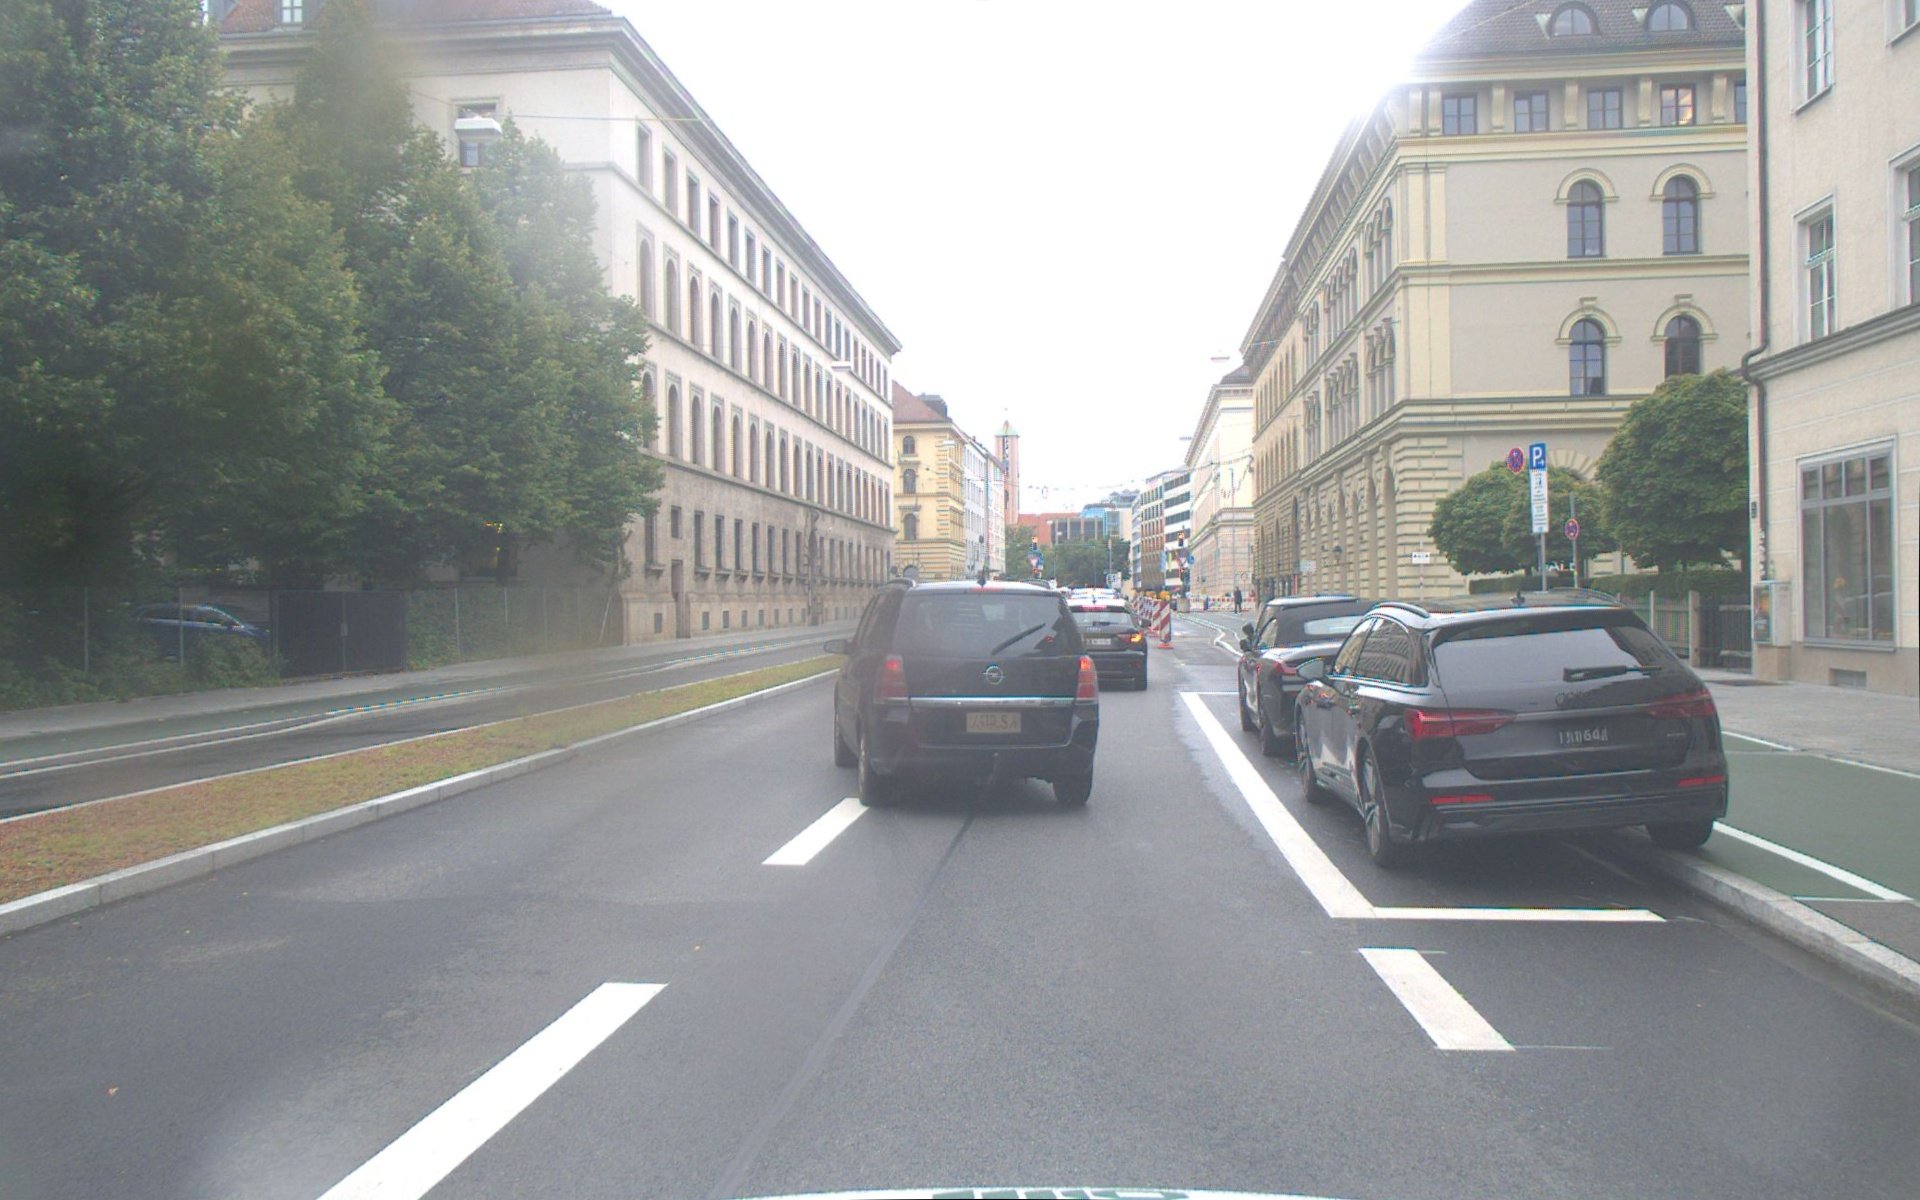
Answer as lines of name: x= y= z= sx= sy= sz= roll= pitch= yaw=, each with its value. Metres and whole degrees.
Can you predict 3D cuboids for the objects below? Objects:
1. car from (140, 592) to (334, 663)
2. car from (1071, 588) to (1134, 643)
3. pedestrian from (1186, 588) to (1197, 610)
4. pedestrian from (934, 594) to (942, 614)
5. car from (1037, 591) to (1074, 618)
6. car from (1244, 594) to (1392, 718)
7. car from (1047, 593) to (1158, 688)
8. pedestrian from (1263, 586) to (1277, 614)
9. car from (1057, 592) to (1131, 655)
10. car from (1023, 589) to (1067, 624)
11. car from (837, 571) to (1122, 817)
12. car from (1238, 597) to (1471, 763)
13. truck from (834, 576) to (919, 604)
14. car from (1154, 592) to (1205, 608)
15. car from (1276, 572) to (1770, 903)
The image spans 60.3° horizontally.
car: x=-18.468 y=0.682 z=42.340 sx=4.172 sy=1.678 sz=1.806 roll=-1 pitch=0 yaw=6
car: x=4.074 y=0.407 z=47.138 sx=1.693 sy=1.486 sz=4.003 roll=0 pitch=0 yaw=5
pedestrian: x=17.631 y=-0.096 z=125.826 sx=0.736 sy=1.646 sz=0.713 roll=-1 pitch=0 yaw=14
pedestrian: x=-2.005 y=0.343 z=152.165 sx=0.642 sy=1.836 sz=0.728 roll=-1 pitch=0 yaw=5
car: x=5.582 y=0.245 z=96.443 sx=1.951 sy=1.469 sz=4.003 roll=-1 pitch=0 yaw=6
car: x=4.870 y=0.701 z=22.916 sx=1.639 sy=1.547 sz=3.832 roll=0 pitch=0 yaw=7
car: x=2.375 y=0.607 z=27.369 sx=1.693 sy=1.427 sz=4.003 roll=0 pitch=0 yaw=5
pedestrian: x=18.452 y=0.013 z=98.510 sx=0.695 sy=1.646 sz=0.755 roll=-1 pitch=0 yaw=5
car: x=3.291 y=0.538 z=40.324 sx=1.693 sy=1.427 sz=4.003 roll=0 pitch=0 yaw=5
car: x=4.179 y=0.288 z=80.884 sx=1.951 sy=1.656 sz=4.003 roll=-1 pitch=0 yaw=6
car: x=-0.004 y=0.616 z=13.179 sx=1.731 sy=1.644 sz=4.023 roll=0 pitch=0 yaw=-7
car: x=3.899 y=0.698 z=17.052 sx=1.787 sy=1.432 sz=4.723 roll=0 pitch=0 yaw=7
truck: x=-7.349 y=-0.884 z=146.473 sx=7.229 sy=2.292 sz=2.181 roll=1 pitch=0 yaw=8
car: x=17.567 y=0.011 z=132.400 sx=3.768 sy=1.243 sz=1.973 roll=-1 pitch=0 yaw=-38
car: x=3.219 y=0.674 z=10.461 sx=1.771 sy=1.506 sz=4.464 roll=-5 pitch=0 yaw=4
